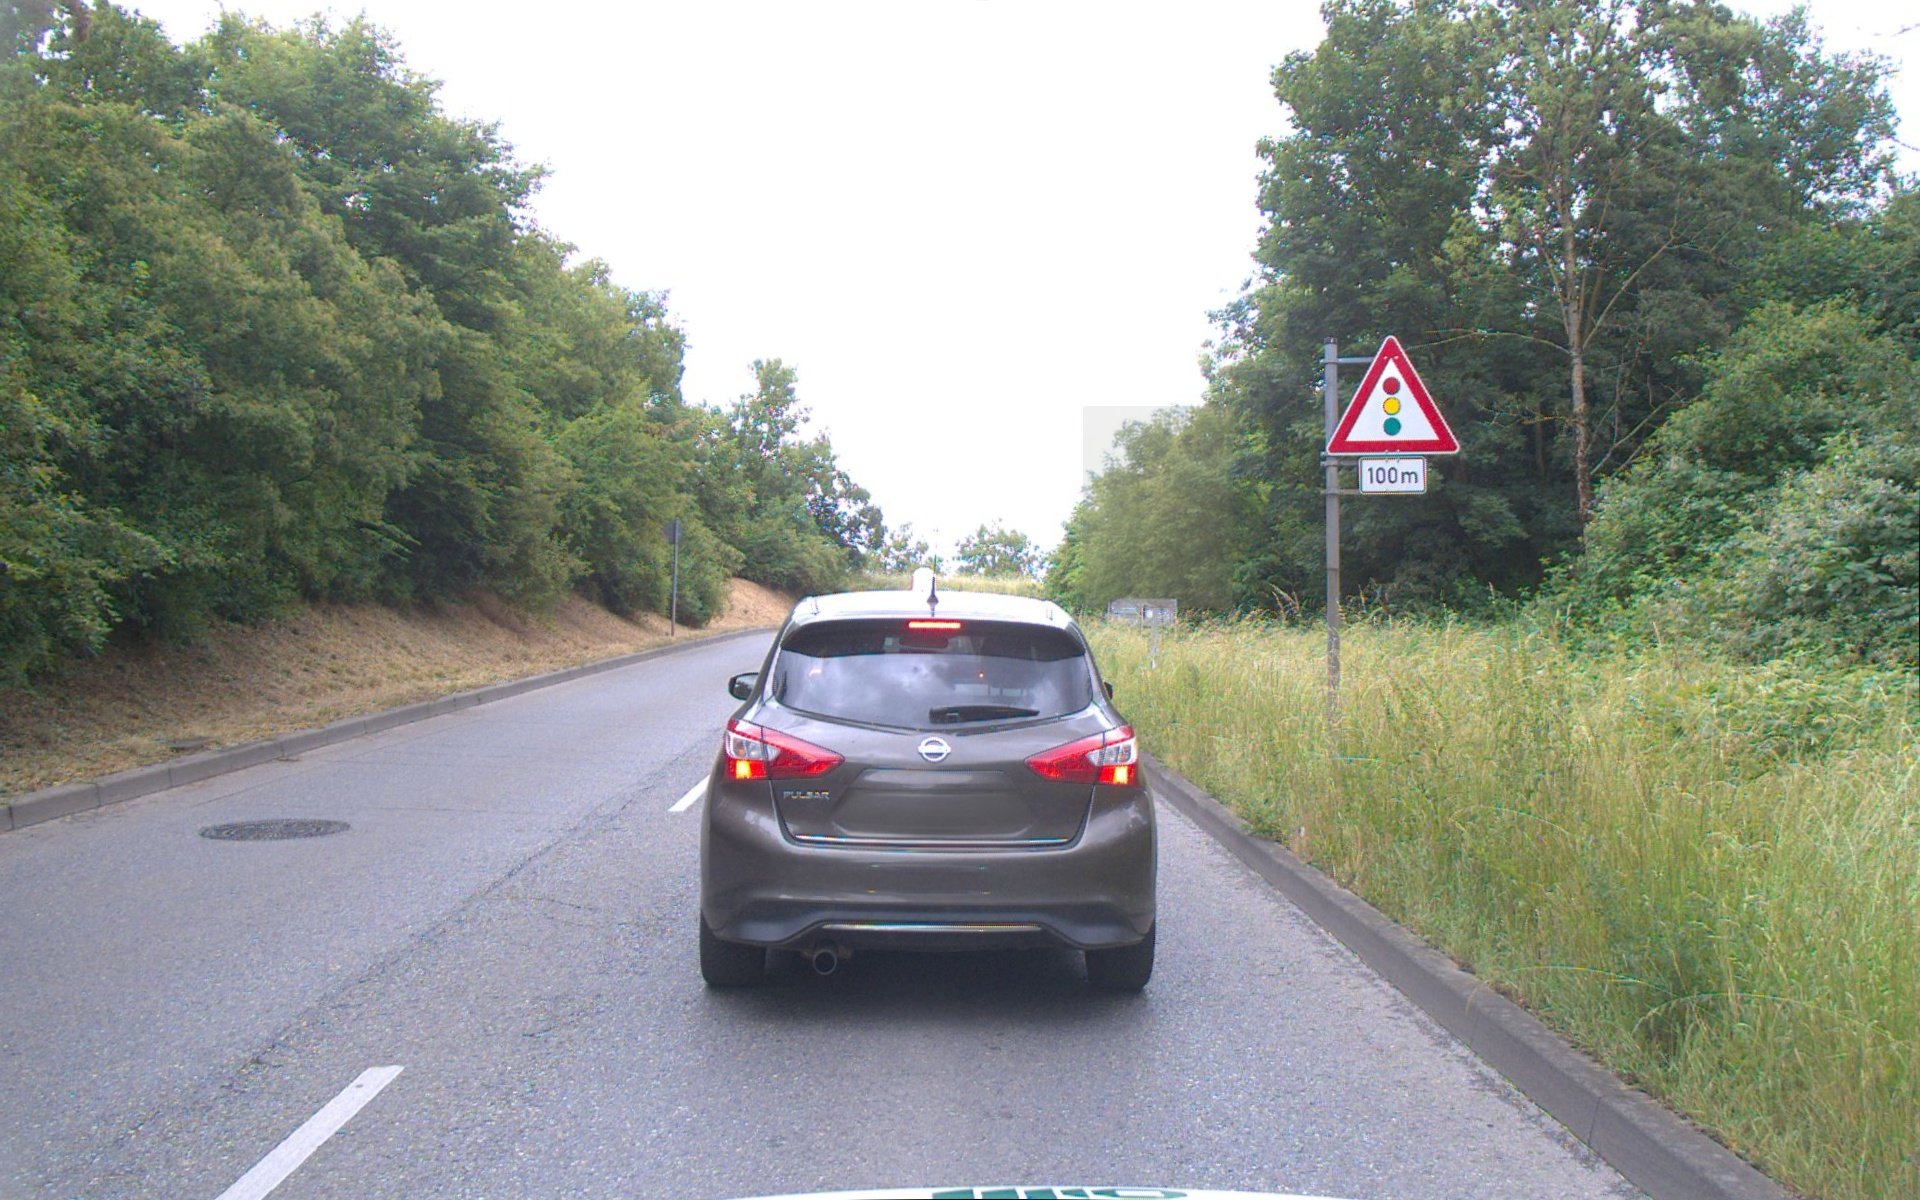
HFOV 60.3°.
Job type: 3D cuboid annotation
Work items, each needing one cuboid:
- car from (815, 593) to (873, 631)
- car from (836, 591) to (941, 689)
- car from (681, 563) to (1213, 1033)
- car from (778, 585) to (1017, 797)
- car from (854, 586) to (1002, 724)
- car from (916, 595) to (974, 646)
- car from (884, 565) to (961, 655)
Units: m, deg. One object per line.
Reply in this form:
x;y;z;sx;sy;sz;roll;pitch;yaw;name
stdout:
-4.452;0.446;64.103;1.607;1.425;3.824;1;0;6;car
-1.186;0.643;28.702;1.700;1.583;3.543;0;0;-1;car
-0.108;0.670;7.367;1.793;1.583;3.497;1;0;-2;car
-0.483;0.673;14.228;1.793;1.583;3.624;0;0;-1;car
-0.385;0.620;20.795;1.700;1.583;3.543;0;0;-1;car
-0.451;0.628;52.523;1.700;1.553;3.544;0;0;1;car
-0.834;0.210;38.097;1.700;1.968;3.543;0;0;-1;car
